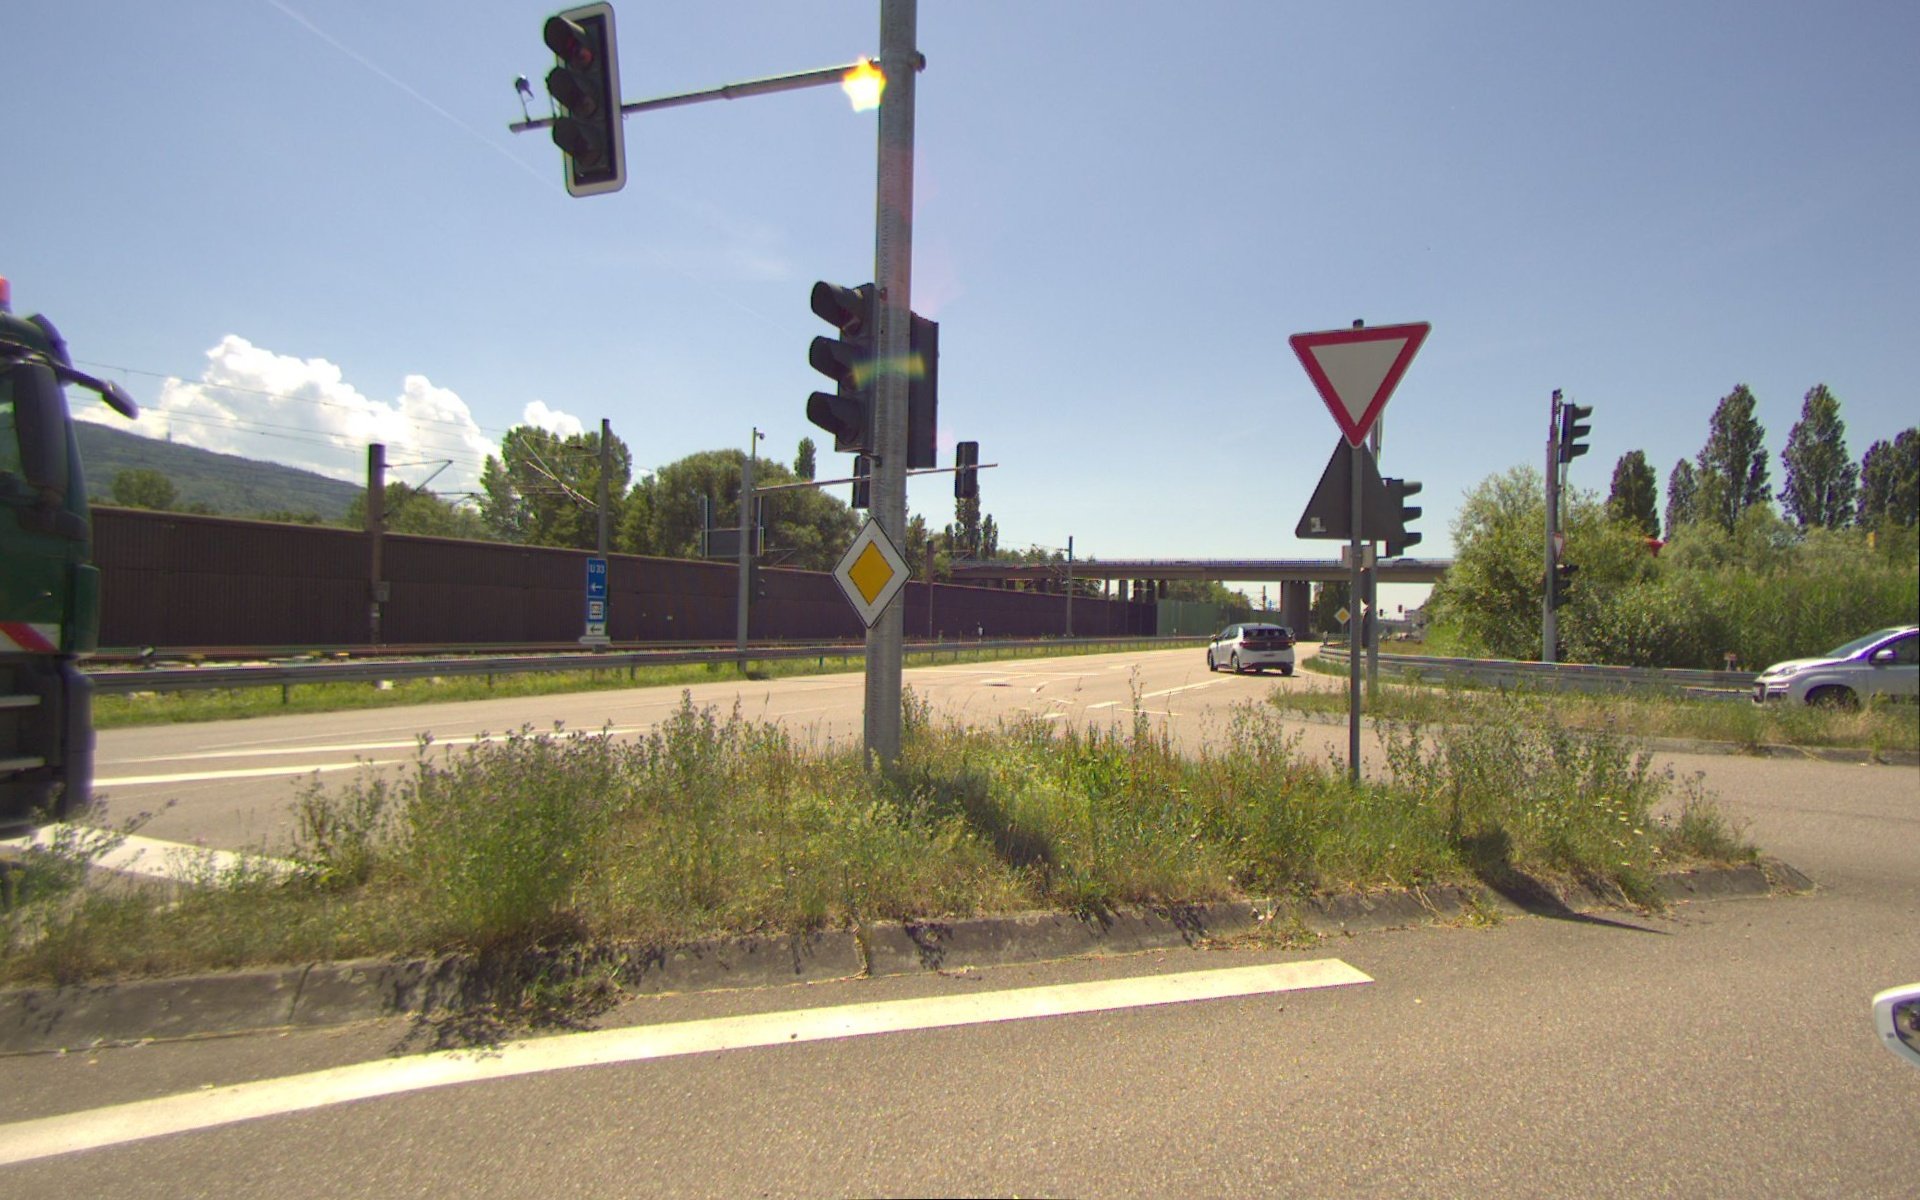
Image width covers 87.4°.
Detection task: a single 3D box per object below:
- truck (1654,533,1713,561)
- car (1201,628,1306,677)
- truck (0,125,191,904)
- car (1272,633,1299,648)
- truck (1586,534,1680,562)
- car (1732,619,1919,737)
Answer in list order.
[{"bbox_3d":[78.031,-5.728,108.475,5.019,2.709,1.995,0,-1,32],"label":"truck"},{"bbox_3d":[9.159,1.613,31.759,1.961,1.416,4.406,0,-1,-1],"label":"car"},{"bbox_3d":[-7.633,-0.484,1.953,2.550,3.787,9.562,0,-1,28],"label":"truck"},{"bbox_3d":[32.166,3.967,99.132,1.963,1.416,4.402,0,-2,26],"label":"car"},{"bbox_3d":[74.013,-5.696,110.661,8.367,2.709,1.997,0,-1,28],"label":"truck"},{"bbox_3d":[13.923,1.116,14.896,3.650,1.653,1.732,0,-1,28],"label":"car"}]
